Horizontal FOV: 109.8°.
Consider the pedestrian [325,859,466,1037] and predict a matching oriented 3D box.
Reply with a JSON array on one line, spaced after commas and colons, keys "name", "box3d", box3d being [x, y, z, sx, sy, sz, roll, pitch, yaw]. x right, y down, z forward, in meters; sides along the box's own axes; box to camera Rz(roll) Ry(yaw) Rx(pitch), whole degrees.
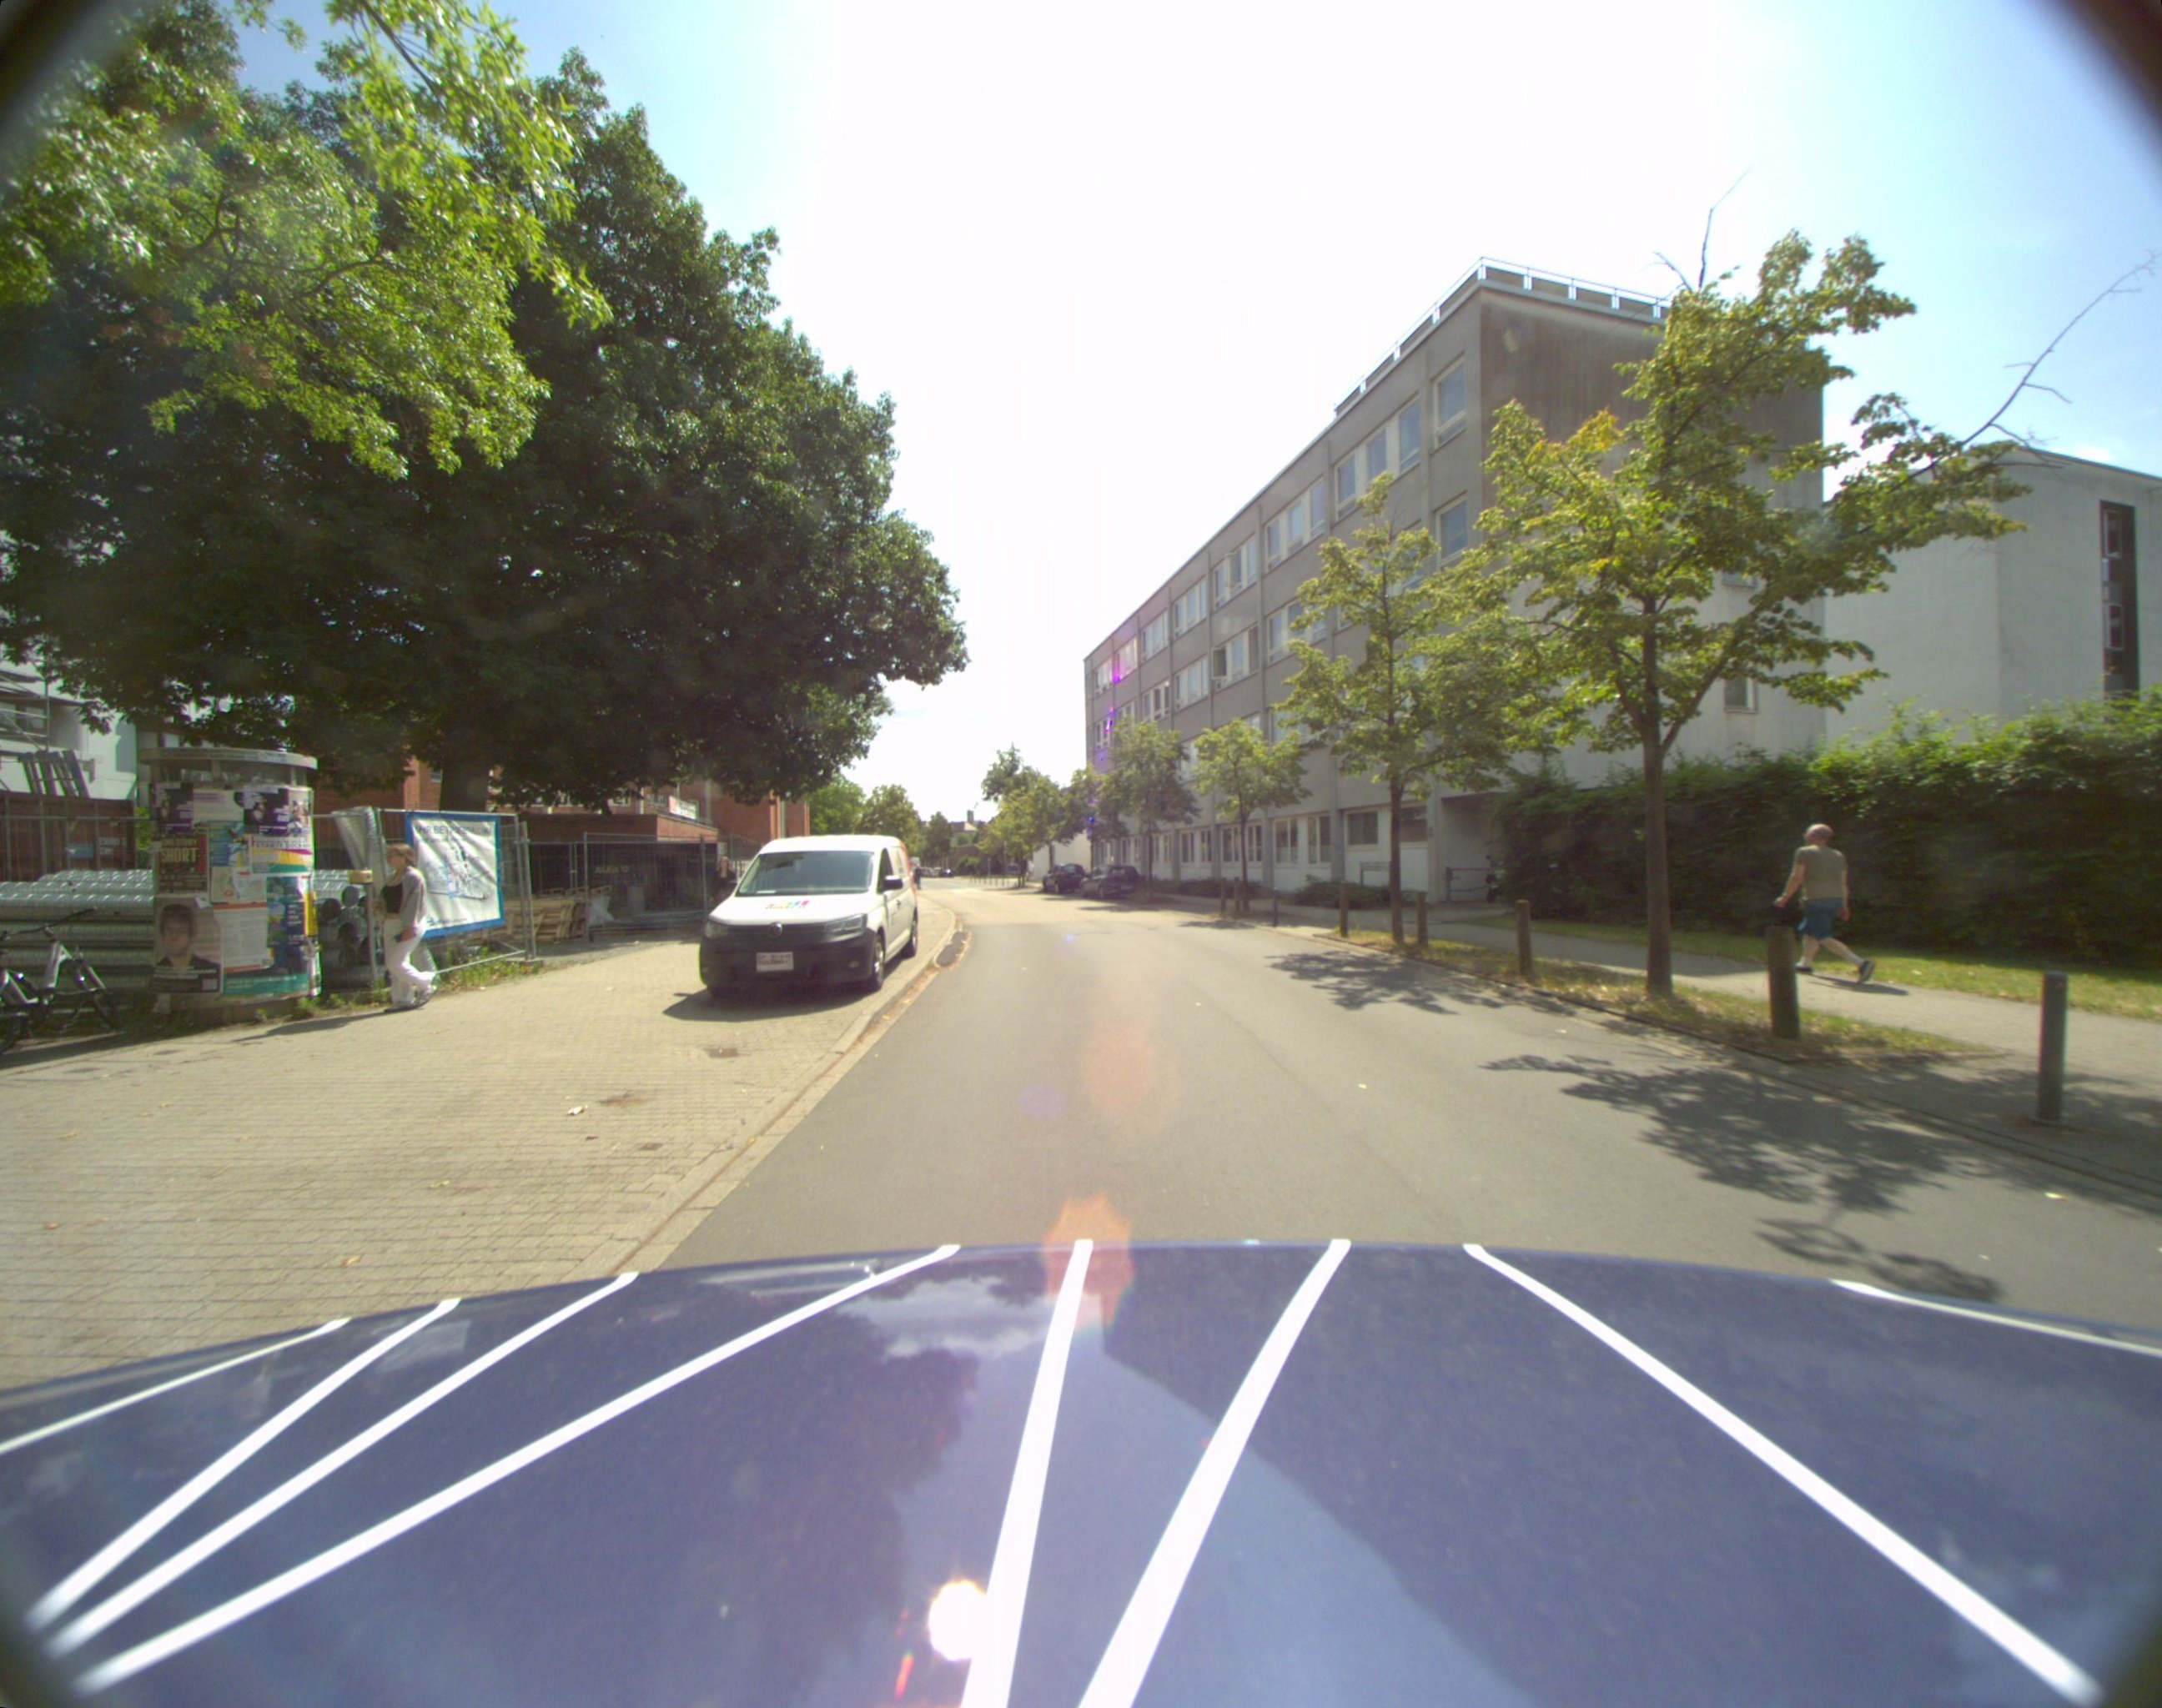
[{"name": "pedestrian", "box3d": [-6.634, 0.864, 7.376, 0.713, 1.622, 0.712, -1, 0, 17]}]

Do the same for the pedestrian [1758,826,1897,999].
[{"name": "pedestrian", "box3d": [8.044, 0.603, 8.226, 0.585, 1.754, 0.911, -1, 0, -1]}]

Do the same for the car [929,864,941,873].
[{"name": "car", "box3d": [-24.092, 2.371, 125.189, 1.720, 1.424, 3.995, -1, 0, -15]}]

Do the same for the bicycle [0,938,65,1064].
[{"name": "bicycle", "box3d": [-9.365, 1.288, 6.193, 0.515, 1.010, 1.804, 0, 0, -26]}]

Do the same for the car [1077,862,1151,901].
[{"name": "car", "box3d": [1.312, 1.130, 32.492, 1.785, 1.452, 4.253, -2, 0, -17]}]

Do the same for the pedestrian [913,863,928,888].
[{"name": "pedestrian", "box3d": [-11.714, 1.541, 55.505, 0.827, 1.807, 1.142, -1, 0, -21]}]

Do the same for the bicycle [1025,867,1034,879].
[{"name": "bicycle", "box3d": [-4.436, 1.634, 65.248, 0.545, 1.055, 1.897, -1, 0, -11]}]

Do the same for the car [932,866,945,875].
[{"name": "car", "box3d": [-22.012, 2.492, 117.258, 1.650, 1.368, 3.995, -1, 0, -15]}]

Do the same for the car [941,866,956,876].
[{"name": "car", "box3d": [-18.379, 2.323, 105.418, 1.703, 1.287, 3.758, -1, -1, -15]}]

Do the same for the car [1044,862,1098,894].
[{"name": "car", "box3d": [-0.594, 1.201, 39.802, 1.703, 1.555, 4.062, -1, 0, -17]}]

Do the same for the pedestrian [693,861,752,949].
[{"name": "pedestrian", "box3d": [-6.711, 0.923, 14.277, 0.670, 1.590, 0.985, -1, 0, -4]}]

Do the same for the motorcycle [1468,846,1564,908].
[{"name": "motorcycle", "box3d": [11.614, 0.599, 20.321, 2.104, 1.541, 1.080, -1, 0, -19]}]

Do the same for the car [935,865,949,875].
[{"name": "car", "box3d": [-20.403, 2.354, 111.691, 1.637, 1.422, 3.628, -1, 0, -16]}]

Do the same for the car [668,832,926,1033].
[{"name": "car", "box3d": [-3.190, 0.754, 9.681, 1.854, 1.880, 4.888, -1, 0, -6]}]

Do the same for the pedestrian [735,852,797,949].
[{"name": "pedestrian", "box3d": [-5.821, 0.841, 14.083, 0.852, 1.753, 0.715, -1, 0, -4]}]

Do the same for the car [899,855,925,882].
[{"name": "car", "box3d": [-16.879, 1.462, 75.735, 2.067, 2.528, 5.841, -1, -1, -18]}]

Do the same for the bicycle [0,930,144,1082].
[{"name": "bicycle", "box3d": [-8.793, 1.234, 6.335, 0.515, 1.010, 1.804, 0, 0, -26]}]
